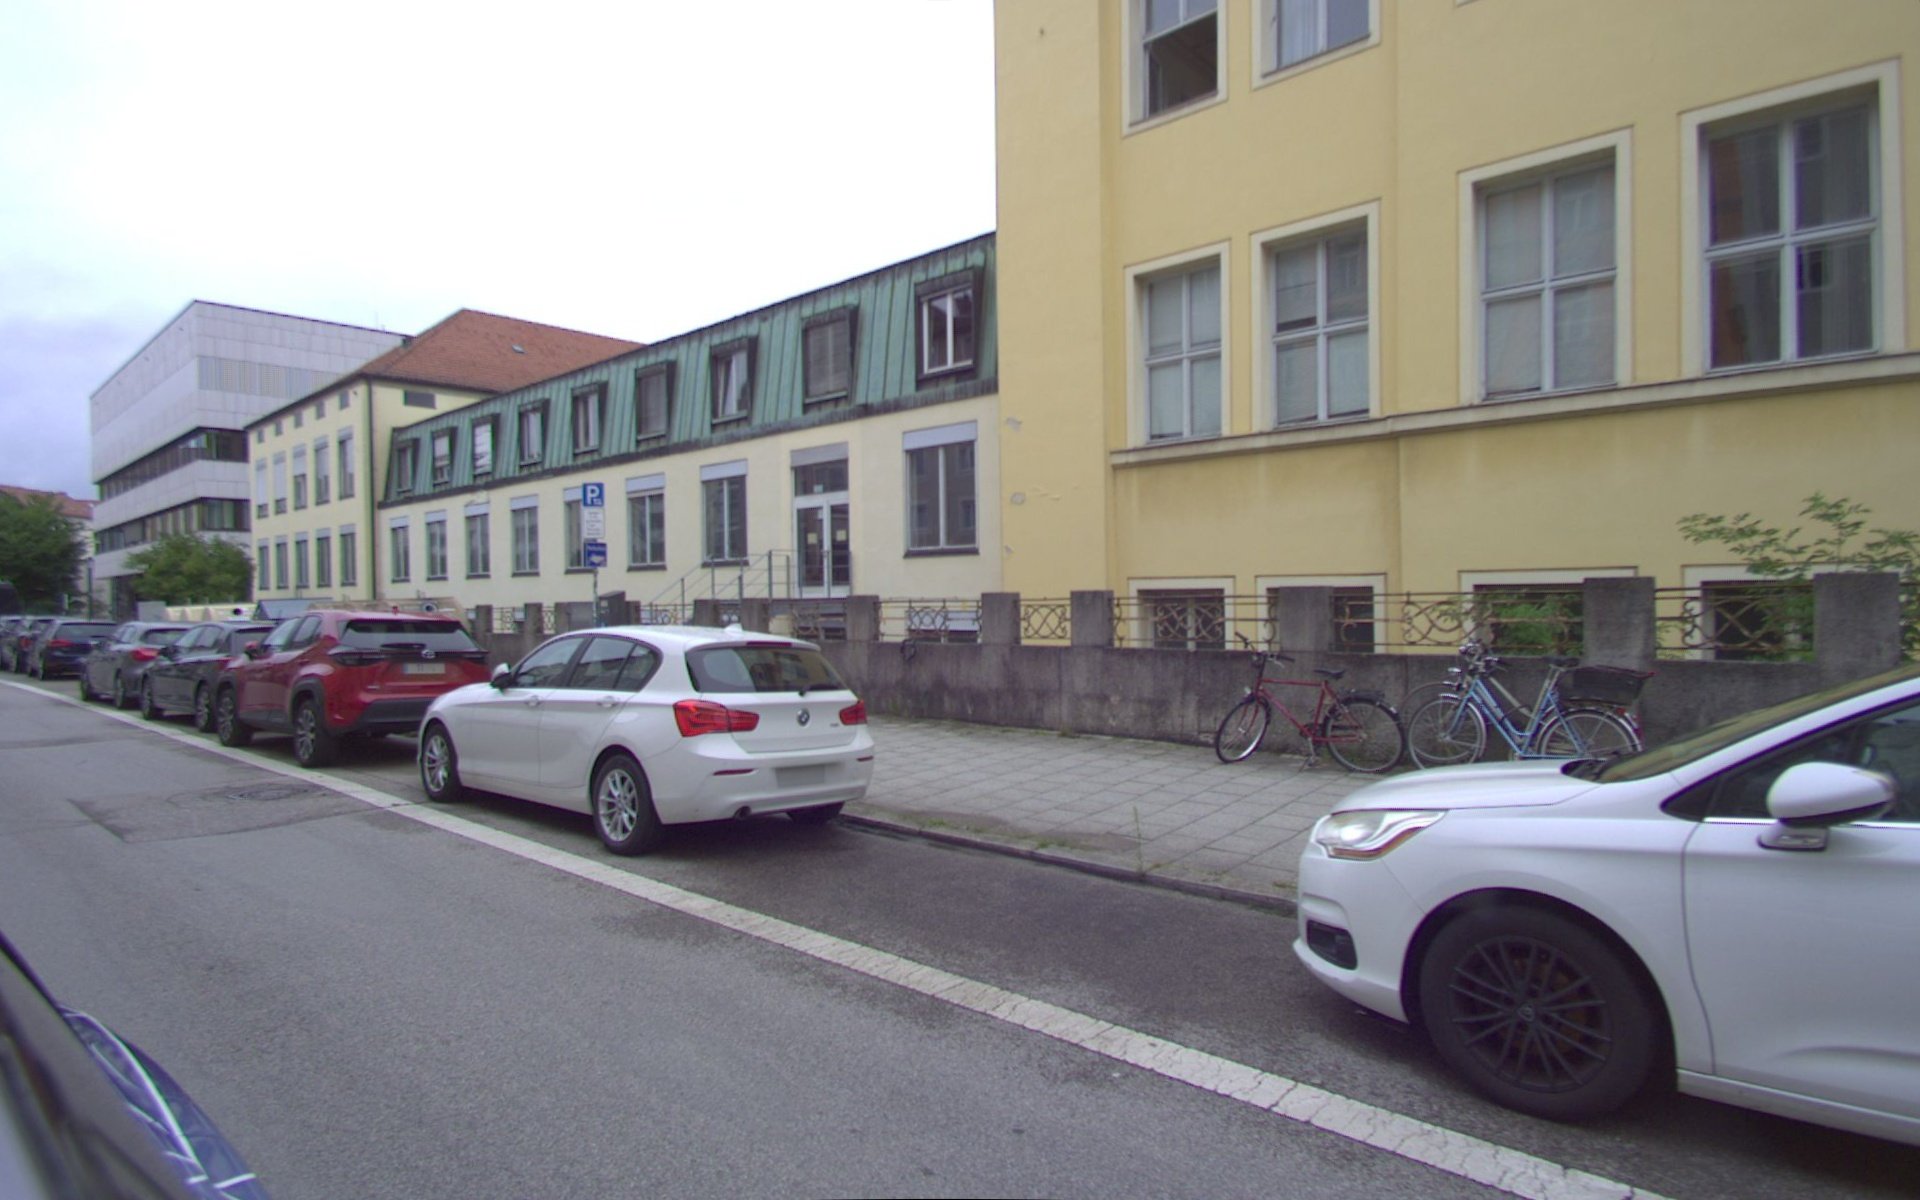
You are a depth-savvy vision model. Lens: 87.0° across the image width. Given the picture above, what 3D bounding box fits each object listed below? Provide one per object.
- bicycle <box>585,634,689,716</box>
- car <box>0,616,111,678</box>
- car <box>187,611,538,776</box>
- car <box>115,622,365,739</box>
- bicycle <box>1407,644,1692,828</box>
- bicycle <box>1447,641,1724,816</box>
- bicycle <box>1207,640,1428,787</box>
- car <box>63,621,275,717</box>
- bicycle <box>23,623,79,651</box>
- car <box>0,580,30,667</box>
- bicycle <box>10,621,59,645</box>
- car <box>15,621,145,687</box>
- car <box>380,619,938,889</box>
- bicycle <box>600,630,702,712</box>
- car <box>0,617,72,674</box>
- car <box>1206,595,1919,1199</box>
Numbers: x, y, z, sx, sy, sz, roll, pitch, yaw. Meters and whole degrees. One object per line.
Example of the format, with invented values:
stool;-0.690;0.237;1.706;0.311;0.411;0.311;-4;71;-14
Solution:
bicycle;-5.030;1.122;15.667;2.105;1.156;0.529;-1;0;42
car;-25.562;1.328;28.327;4.347;1.599;1.894;-2;-4;39
car;-6.837;0.897;11.390;4.525;1.493;1.938;0;-2;39
car;-10.352;1.046;14.443;4.349;1.416;1.732;-1;-3;38
bicycle;4.083;0.883;7.121;0.530;1.070;1.643;-1;0;-38
bicycle;4.527;0.873;7.429;0.530;1.070;1.643;-1;0;-38
bicycle;2.948;0.892;8.400;1.635;1.070;0.569;-1;0;34
car;-14.041;1.132;17.876;4.612;1.429;1.994;0;-2;40
bicycle;-40.412;1.616;45.008;0.519;1.160;1.793;-1;0;39
car;-34.500;0.799;34.866;6.180;2.875;2.194;-1;-2;34
bicycle;-47.972;1.714;52.474;0.519;1.160;1.793;-1;0;39
car;-21.966;1.305;25.206;4.530;1.493;1.893;-2;-3;42
car;-2.509;0.903;7.699;4.661;1.440;1.775;-1;-3;40
bicycle;-4.927;1.091;16.050;2.105;1.194;0.529;-1;0;42
car;-29.048;1.376;31.179;4.345;1.649;1.861;-1;-3;40
car;3.196;0.717;2.714;4.651;1.442;1.766;-1;1;42
